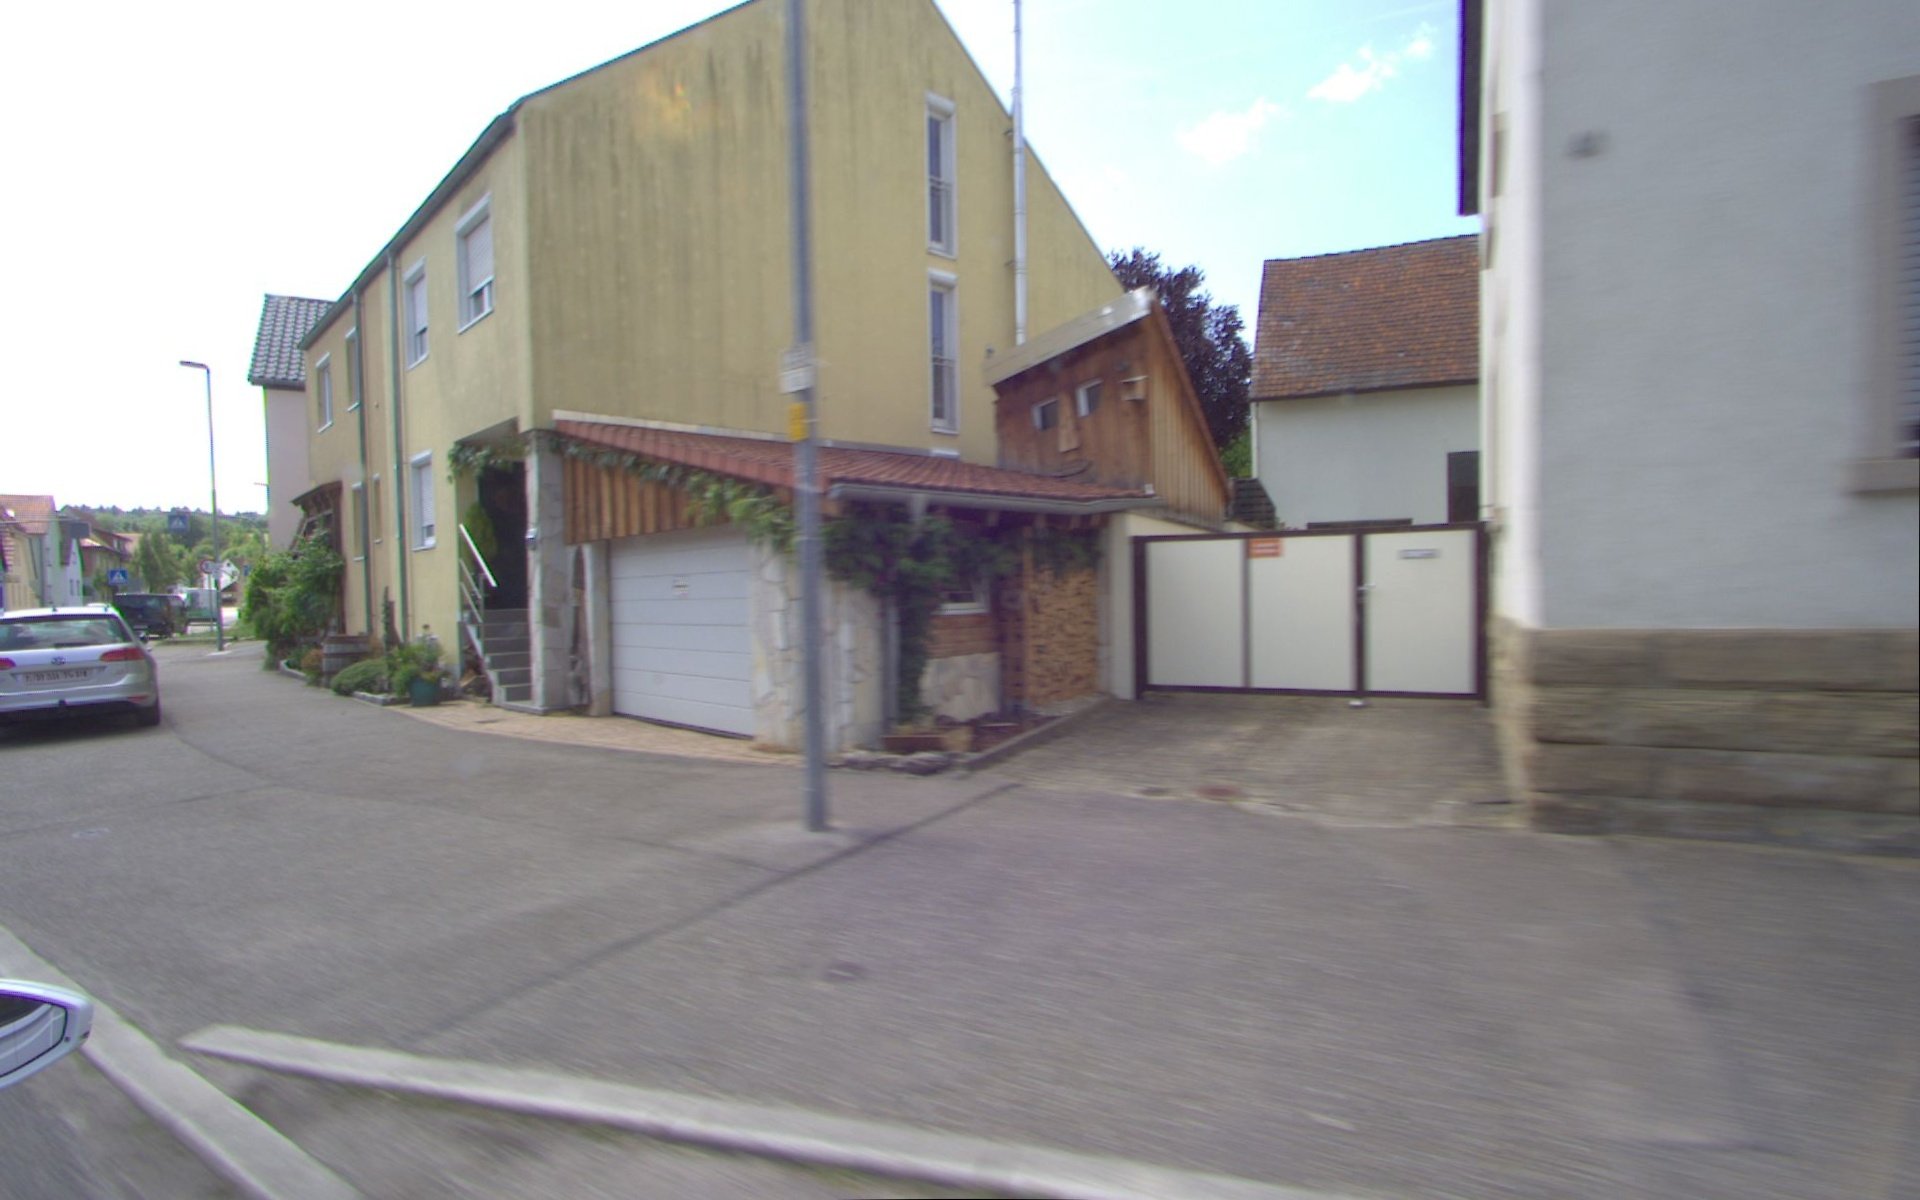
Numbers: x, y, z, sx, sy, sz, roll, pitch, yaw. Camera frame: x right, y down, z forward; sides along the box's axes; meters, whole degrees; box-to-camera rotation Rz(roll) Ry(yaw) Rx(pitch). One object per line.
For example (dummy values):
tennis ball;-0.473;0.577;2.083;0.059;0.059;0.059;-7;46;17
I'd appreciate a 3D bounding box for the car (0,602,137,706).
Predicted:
car;-14.913;0.849;16.473;1.757;1.418;4.383;-4;1;-43

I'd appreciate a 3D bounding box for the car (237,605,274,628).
car;-49.272;1.140;70.108;1.974;1.527;3.976;0;-2;-34

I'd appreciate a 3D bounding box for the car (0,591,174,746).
car;-11.161;0.744;12.326;1.871;1.551;4.294;-4;3;-43

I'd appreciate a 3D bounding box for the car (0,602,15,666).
car;-23.306;0.821;23.356;1.737;1.434;3.965;0;-2;-42

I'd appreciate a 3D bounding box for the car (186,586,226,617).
car;-52.912;0.105;70.338;1.974;2.039;3.975;0;-2;-34

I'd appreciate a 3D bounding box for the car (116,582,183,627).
car;-35.300;0.231;43.699;1.974;1.839;3.974;0;-2;-35

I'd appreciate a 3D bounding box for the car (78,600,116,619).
car;-64.881;0.730;75.323;1.977;1.338;3.680;0;-2;-39
